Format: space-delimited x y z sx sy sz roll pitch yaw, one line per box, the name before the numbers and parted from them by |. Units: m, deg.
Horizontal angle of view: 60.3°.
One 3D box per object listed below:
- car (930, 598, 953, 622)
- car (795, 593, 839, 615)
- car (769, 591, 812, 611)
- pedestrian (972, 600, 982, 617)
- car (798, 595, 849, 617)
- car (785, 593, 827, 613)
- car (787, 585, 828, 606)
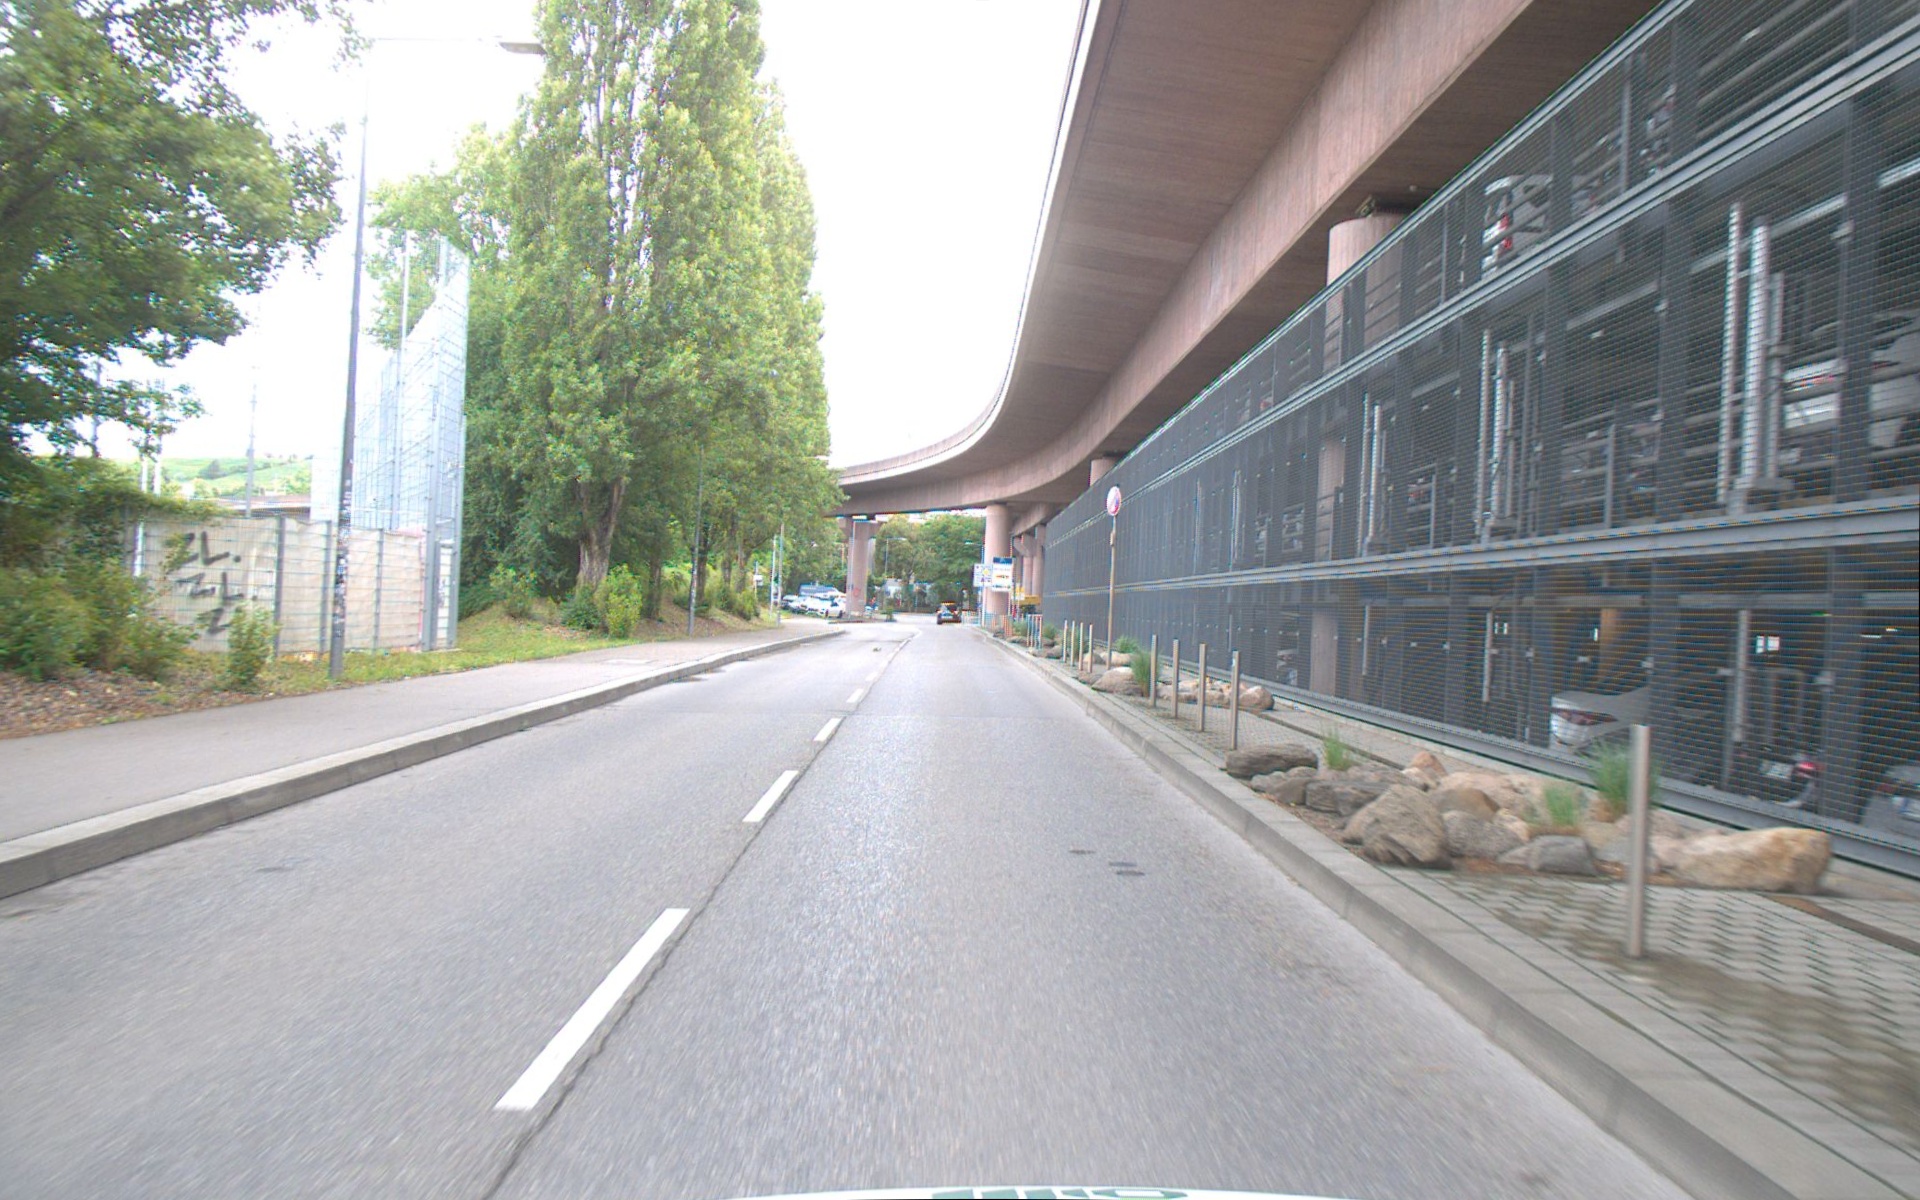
car | -1.547 0.827 137.833 1.802 1.741 3.705 2 1 -1
car | -12.483 0.350 144.440 1.694 1.746 3.653 3 2 40
car | -15.489 0.106 150.976 1.775 1.746 3.653 3 2 40
pedestrian | 1.962 1.000 190.417 0.761 1.909 0.816 1 1 -32
car | -11.576 0.544 140.398 1.851 1.746 4.131 3 2 40
car | -13.747 0.261 147.729 1.694 1.746 3.653 3 2 40
car | -15.895 -0.474 172.732 4.129 2.049 1.999 3 0 -2
